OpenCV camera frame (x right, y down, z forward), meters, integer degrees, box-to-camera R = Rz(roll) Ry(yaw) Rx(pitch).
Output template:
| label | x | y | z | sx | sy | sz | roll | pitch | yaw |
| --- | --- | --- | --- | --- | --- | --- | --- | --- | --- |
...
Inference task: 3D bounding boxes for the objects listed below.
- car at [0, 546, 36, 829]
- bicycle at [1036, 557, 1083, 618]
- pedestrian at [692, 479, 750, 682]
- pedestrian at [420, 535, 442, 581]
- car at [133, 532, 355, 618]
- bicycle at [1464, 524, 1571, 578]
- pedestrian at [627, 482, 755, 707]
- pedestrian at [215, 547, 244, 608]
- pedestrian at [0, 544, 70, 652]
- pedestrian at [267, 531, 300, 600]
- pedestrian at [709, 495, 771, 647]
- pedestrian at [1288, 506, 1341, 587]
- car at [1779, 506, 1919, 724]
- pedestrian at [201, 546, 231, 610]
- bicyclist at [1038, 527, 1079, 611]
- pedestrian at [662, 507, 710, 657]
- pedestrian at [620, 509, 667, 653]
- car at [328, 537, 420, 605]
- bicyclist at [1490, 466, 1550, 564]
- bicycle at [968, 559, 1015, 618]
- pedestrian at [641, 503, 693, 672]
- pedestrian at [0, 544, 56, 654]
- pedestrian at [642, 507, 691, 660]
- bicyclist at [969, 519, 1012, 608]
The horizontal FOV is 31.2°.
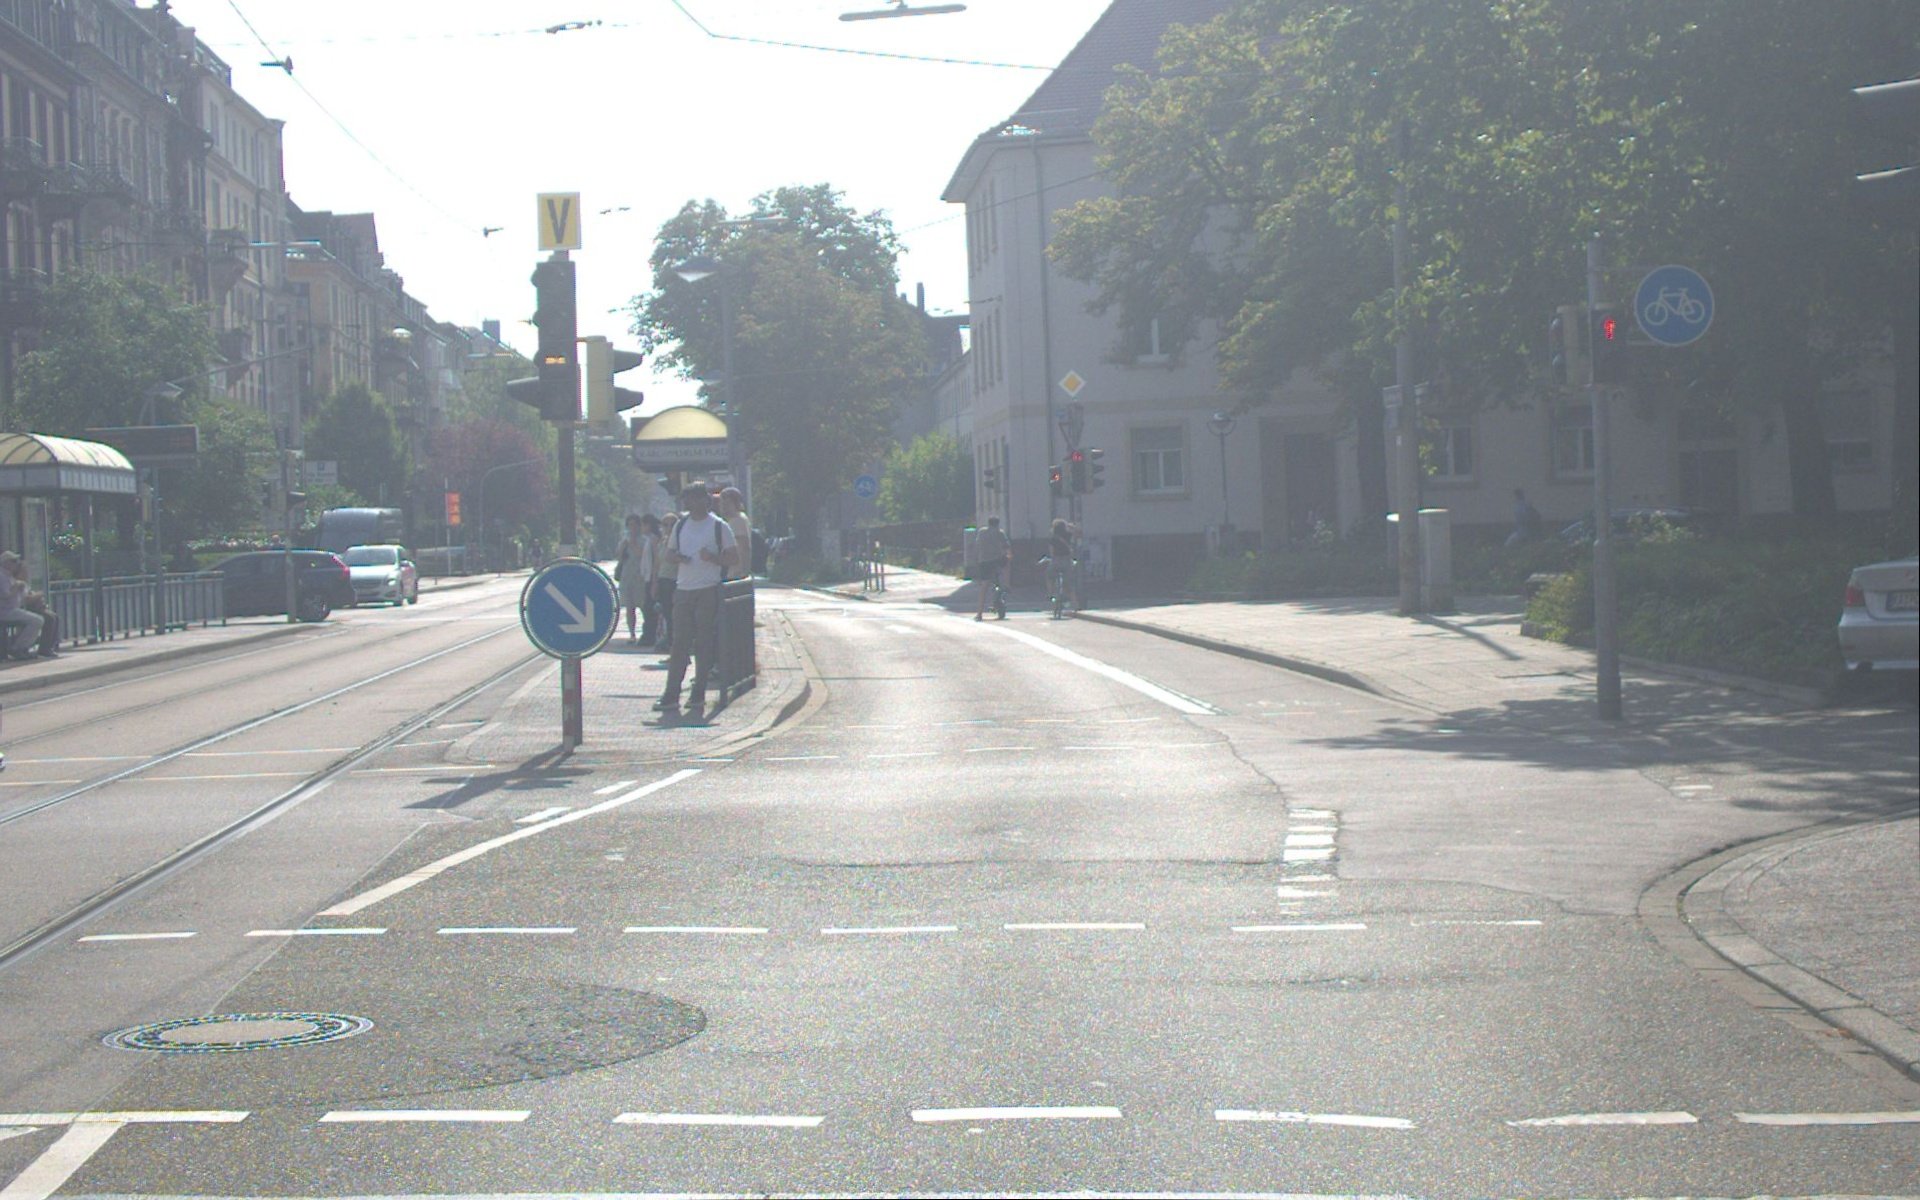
| label | x | y | z | sx | sy | sz | roll | pitch | yaw |
| --- | --- | --- | --- | --- | --- | --- | --- | --- | --- |
| car | -7.311 | 0.549 | 18.406 | 4.215 | 1.510 | 1.612 | -2 | 2 | 6 |
| bicycle | 1.682 | -0.224 | 58.443 | 0.558 | 0.974 | 1.856 | -2 | 1 | -4 |
| pedestrian | -2.189 | -0.188 | 31.553 | 0.504 | 1.827 | 0.534 | 1 | 3 | -3 |
| pedestrian | -20.347 | -1.623 | 132.264 | 0.750 | 1.725 | 0.772 | -2 | 1 | -12 |
| car | -14.573 | -0.524 | 70.019 | 4.321 | 1.564 | 2.001 | -2 | 1 | -12 |
| bicycle | 10.695 | -0.929 | 65.923 | 1.939 | 0.974 | 0.496 | -1 | 1 | 27 |
| pedestrian | -2.130 | -0.058 | 27.287 | 0.701 | 1.719 | 0.747 | 3 | 4 | 30 |
| pedestrian | -20.866 | -0.643 | 98.217 | 0.750 | 1.725 | 0.772 | -2 | 1 | -12 |
| pedestrian | -12.021 | -0.032 | 44.511 | 0.827 | 1.354 | 0.776 | -2 | 1 | -7 |
| pedestrian | -17.332 | -0.886 | 88.068 | 0.750 | 1.725 | 0.772 | -2 | 1 | -12 |
| pedestrian | -2.584 | -0.342 | 40.444 | 0.709 | 1.753 | 0.534 | 1 | 3 | -3 |
| pedestrian | 7.773 | -1.166 | 75.320 | 0.892 | 1.734 | 0.775 | -1 | 1 | 26 |
| car | 8.406 | 0.023 | 24.799 | 4.770 | 1.461 | 1.870 | -3 | -1 | -29 |
| pedestrian | -20.500 | -0.612 | 94.713 | 0.750 | 1.725 | 0.772 | -2 | 1 | -12 |
| bicyclist | 1.664 | -0.532 | 58.450 | 0.558 | 1.412 | 0.872 | -2 | 1 | -4 |
| pedestrian | -3.266 | -0.222 | 41.040 | 0.543 | 1.753 | 0.534 | 1 | 3 | -3 |
| pedestrian | -3.901 | -0.240 | 42.434 | 0.532 | 1.753 | 0.545 | 1 | 3 | -2 |
| car | -14.907 | -0.757 | 87.649 | 1.801 | 1.648 | 3.643 | -2 | 1 | -2 |
| bicyclist | 10.731 | -1.633 | 65.885 | 0.988 | 1.851 | 0.492 | -1 | 1 | 26 |
| bicycle | 0.536 | -0.205 | 59.044 | 0.629 | 0.974 | 1.770 | -2 | 1 | -4 |
| pedestrian | -3.086 | -0.137 | 36.226 | 0.504 | 1.753 | 0.534 | 1 | 3 | -3 |
| pedestrian | -11.945 | -0.016 | 43.536 | 0.827 | 1.354 | 0.776 | -2 | 1 | -7 |
| pedestrian | -3.435 | -0.199 | 40.224 | 0.543 | 1.753 | 0.534 | 1 | 3 | -3 |
| bicyclist | 0.527 | -0.637 | 59.033 | 0.629 | 1.502 | 0.679 | -2 | 1 | -4 |
